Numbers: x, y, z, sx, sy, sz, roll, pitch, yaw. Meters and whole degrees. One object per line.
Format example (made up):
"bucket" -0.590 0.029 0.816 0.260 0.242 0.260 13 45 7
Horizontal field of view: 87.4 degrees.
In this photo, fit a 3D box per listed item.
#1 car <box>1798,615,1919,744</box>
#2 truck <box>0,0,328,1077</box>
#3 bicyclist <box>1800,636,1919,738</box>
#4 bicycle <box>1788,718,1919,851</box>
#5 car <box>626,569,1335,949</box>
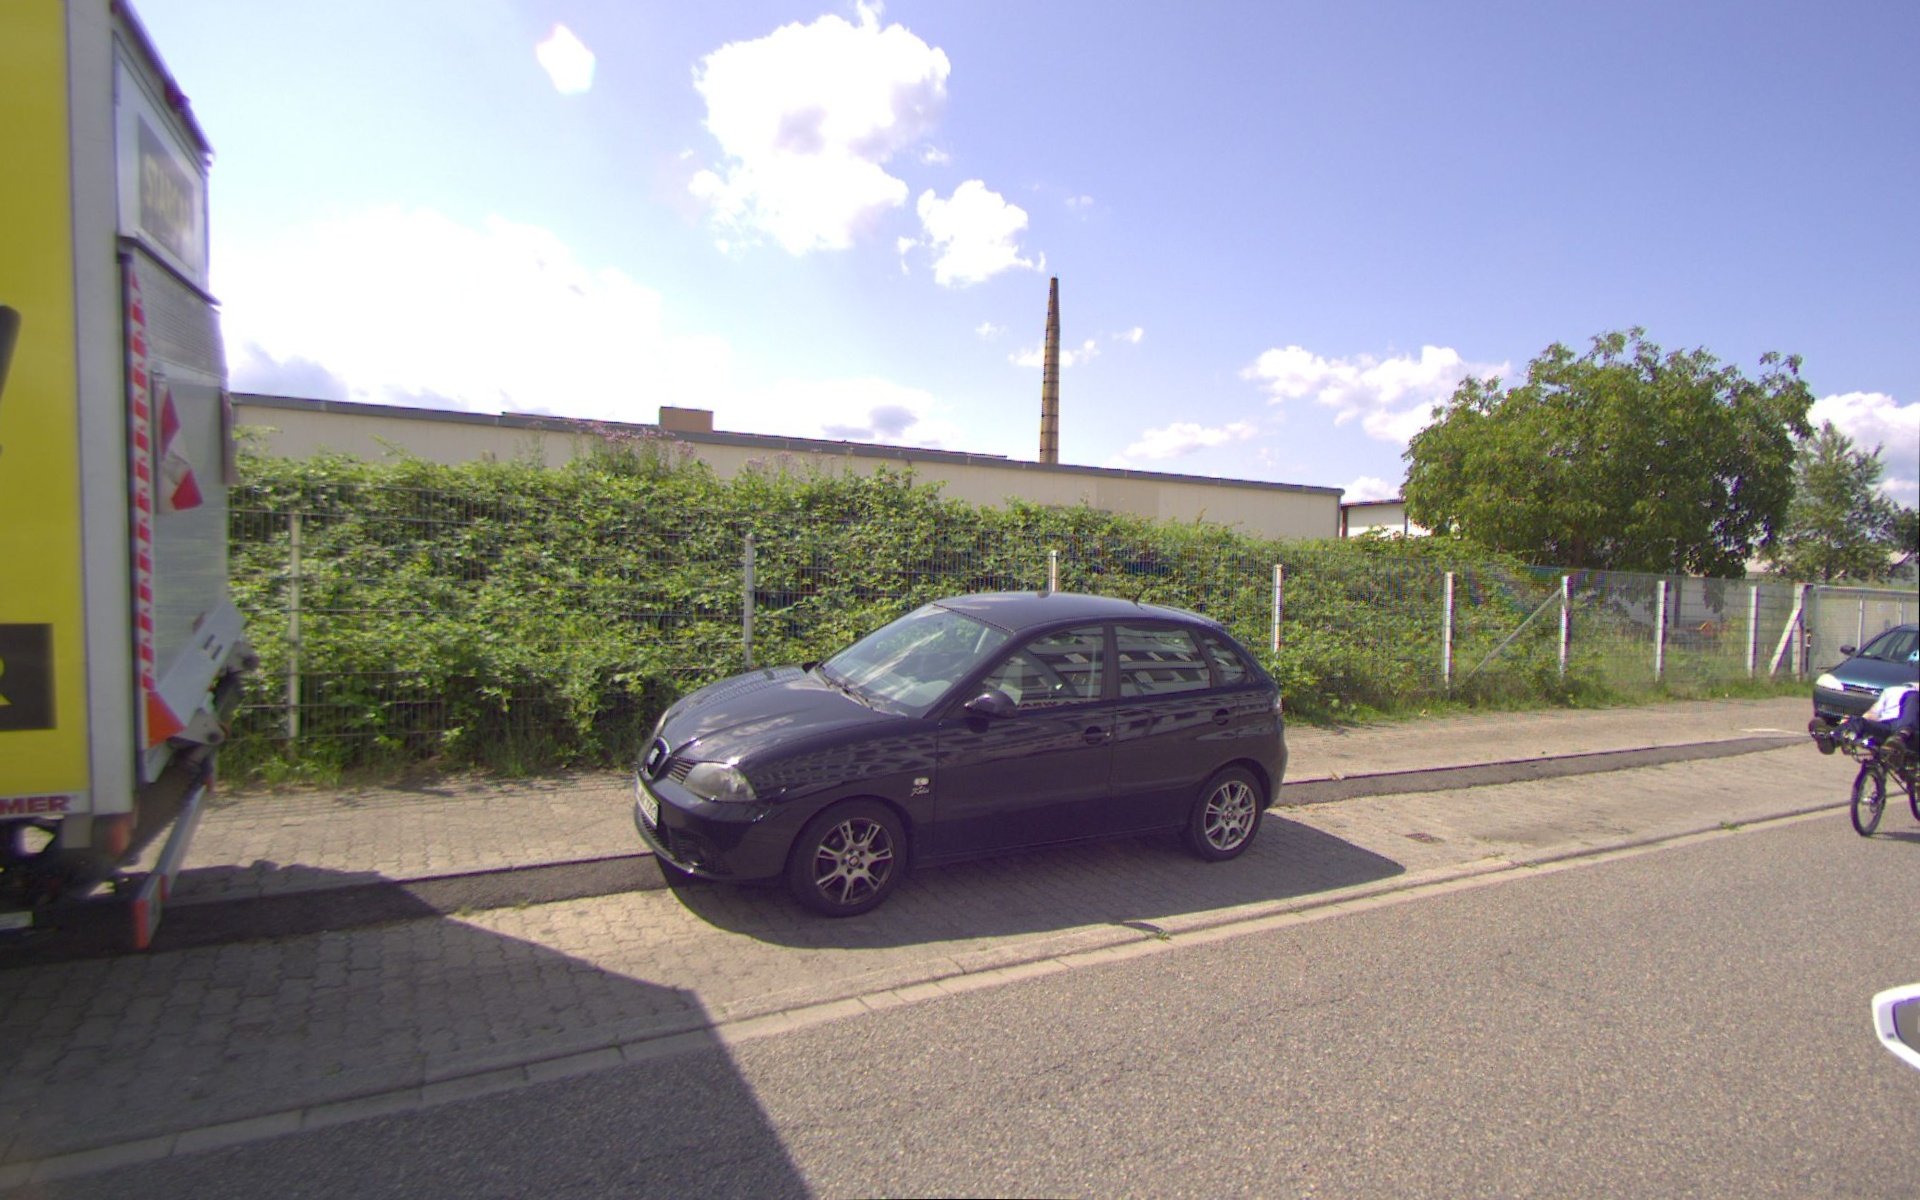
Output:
"car" 13.102 1.026 13.412 3.752 1.418 1.561 1 6 -29
"truck" -5.534 -0.464 2.308 6.828 3.407 2.238 1 6 -32
"bicyclist" 7.087 0.615 7.510 1.834 0.640 0.563 1 3 -28
"bicycle" 7.089 1.334 7.539 2.099 0.751 0.585 1 1 -28
"car" 0.186 0.699 5.870 3.782 1.449 1.611 1 7 -30
